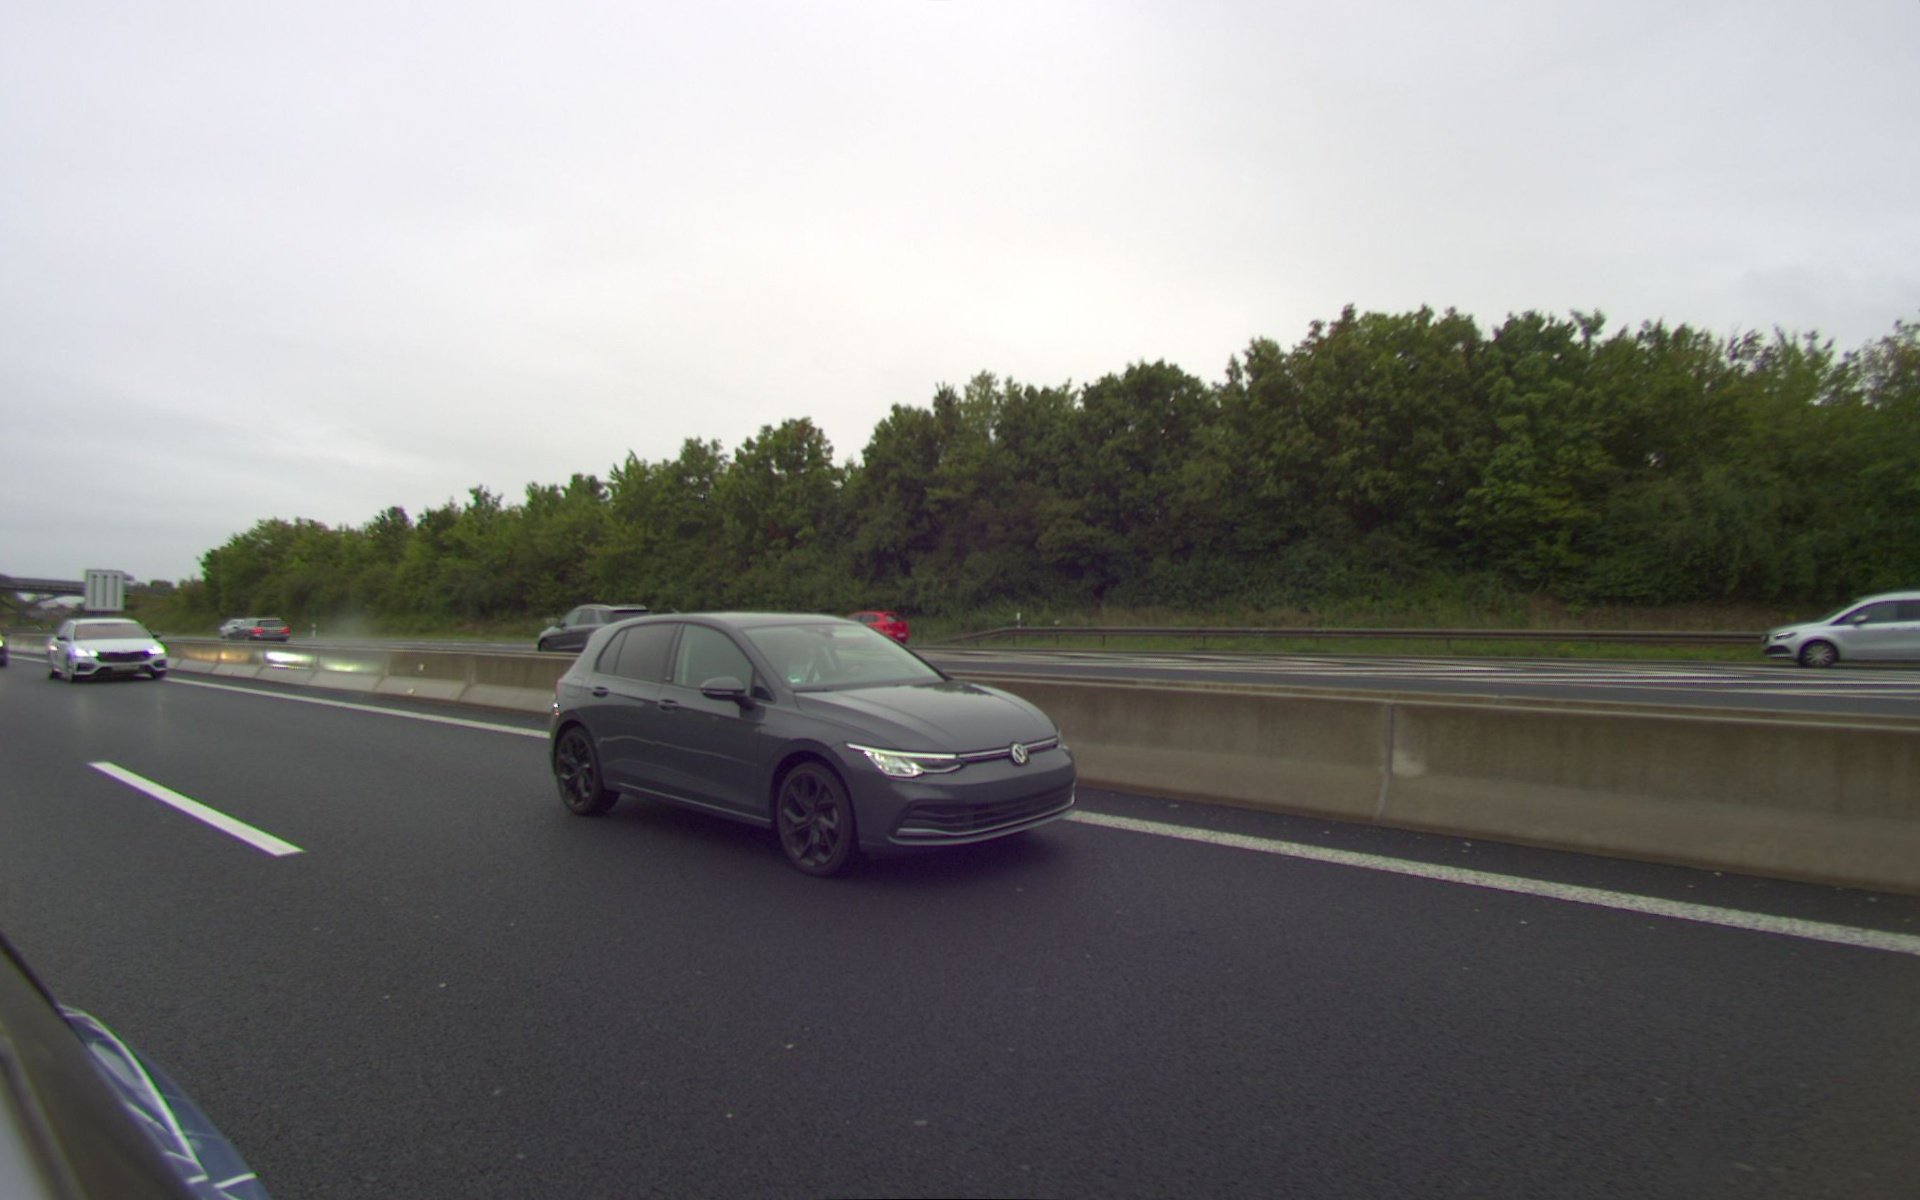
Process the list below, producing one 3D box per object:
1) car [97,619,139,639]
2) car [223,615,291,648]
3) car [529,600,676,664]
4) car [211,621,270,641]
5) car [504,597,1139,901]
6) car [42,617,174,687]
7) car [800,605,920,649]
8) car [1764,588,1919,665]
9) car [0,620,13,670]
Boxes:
[{"bbox_3d":[-72.378,2.495,86.954,4.536,1.647,2.157,-1,-1,42],"label":"car"},{"bbox_3d":[-38.786,1.701,55.789,5.251,1.708,2.155,-2,-1,44],"label":"car"},{"bbox_3d":[-10.465,0.900,29.440,4.733,1.708,2.155,-2,-1,44],"label":"car"},{"bbox_3d":[-54.245,2.351,76.290,4.373,1.441,2.164,-1,-1,32],"label":"car"},{"bbox_3d":[-1.196,0.741,6.933,4.458,1.416,1.880,-1,-1,42],"label":"car"},{"bbox_3d":[-20.454,1.193,24.237,4.113,1.518,1.880,-1,-1,42],"label":"car"},{"bbox_3d":[-4.164,1.111,41.999,4.612,1.708,2.164,-1,-1,32],"label":"car"},{"bbox_3d":[21.714,0.597,23.462,4.554,1.708,2.162,-1,-1,33],"label":"car"},{"bbox_3d":[-31.163,1.421,31.690,4.113,1.518,1.880,-1,-1,42],"label":"car"}]
